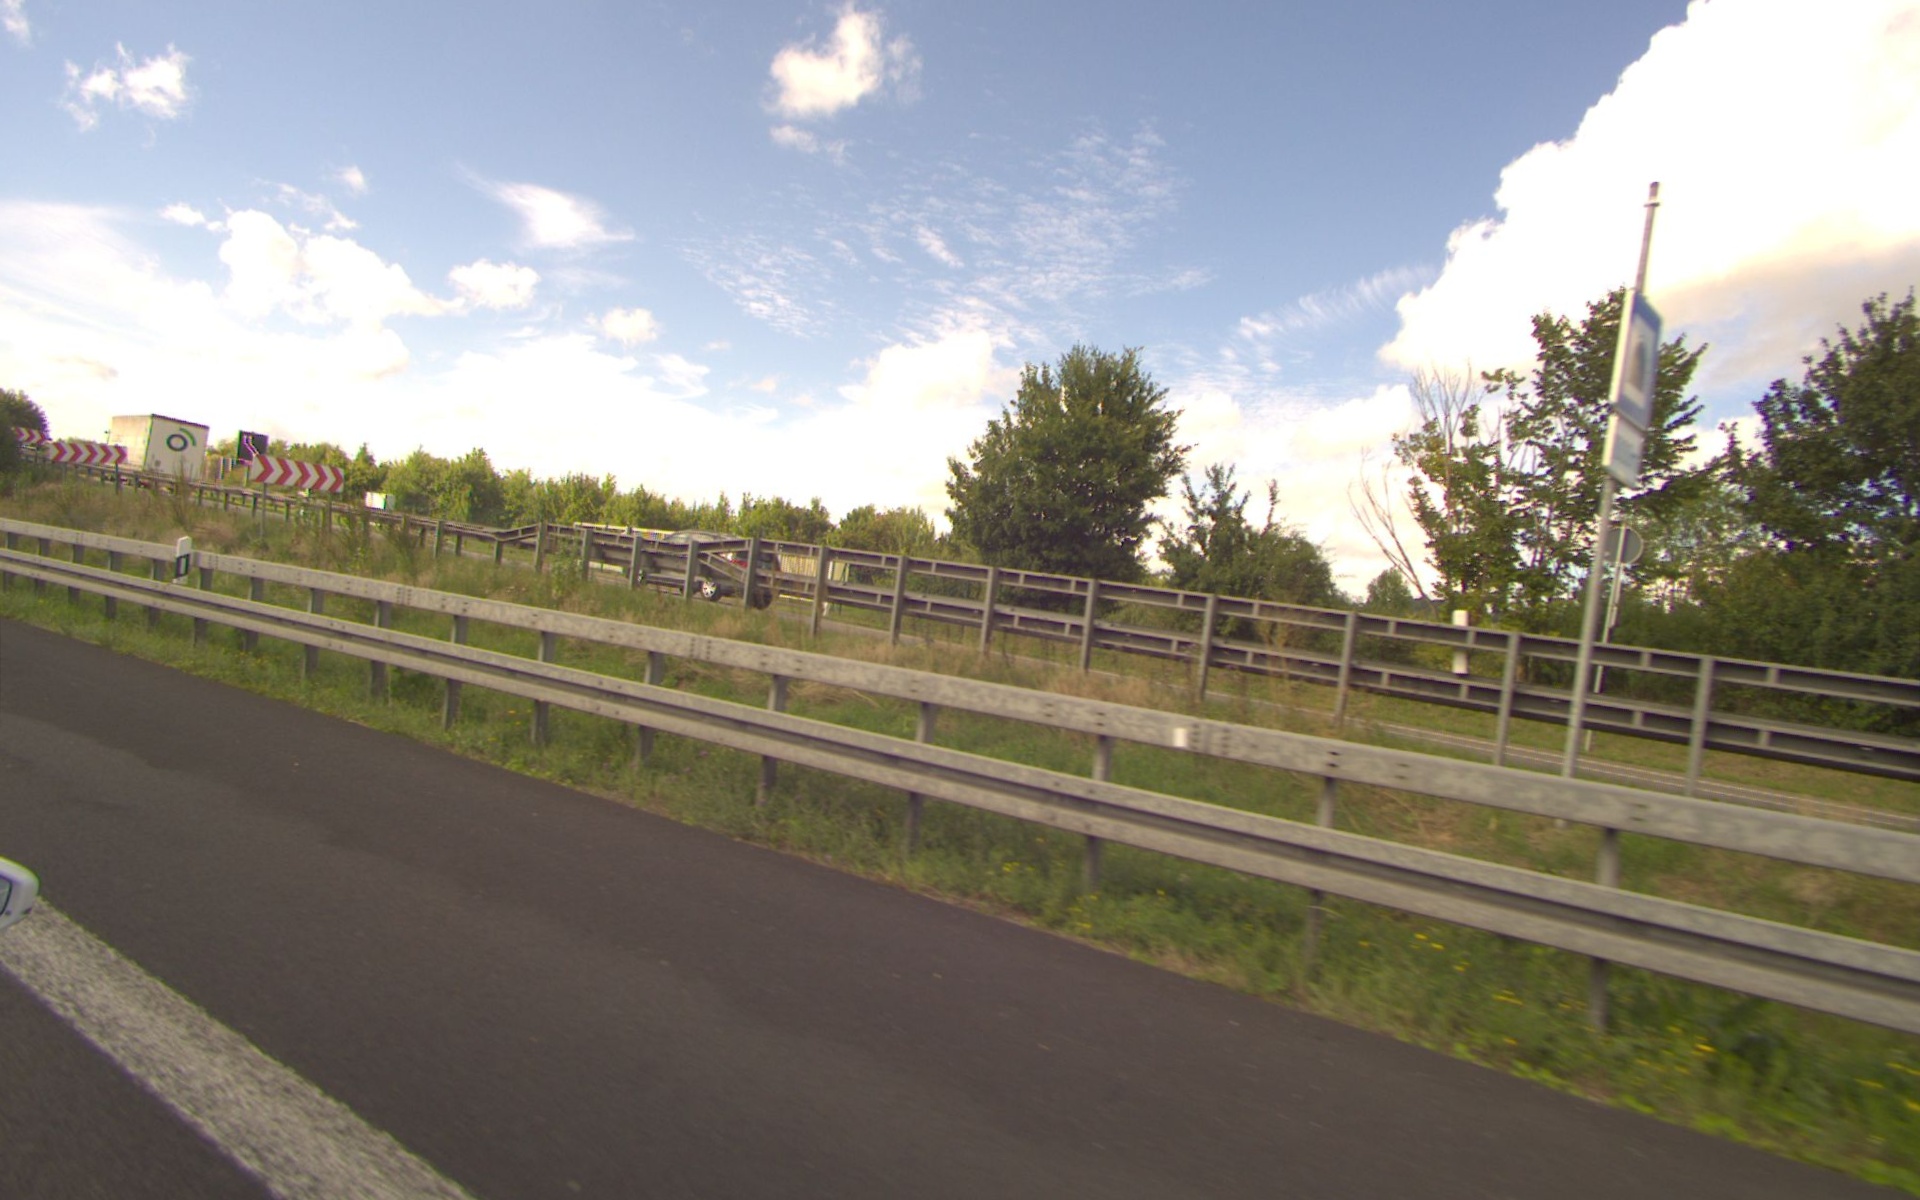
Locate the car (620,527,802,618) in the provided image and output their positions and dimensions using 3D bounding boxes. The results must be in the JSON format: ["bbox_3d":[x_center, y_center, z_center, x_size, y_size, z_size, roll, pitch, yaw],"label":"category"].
[{"bbox_3d":[-6.046,-0.667,24.354,3.934,1.739,1.995,7,1,32],"label":"car"}]

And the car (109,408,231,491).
[{"bbox_3d":[-43.931,-8.284,55.892,7.437,3.723,3.573,7,1,39],"label":"car"}]
